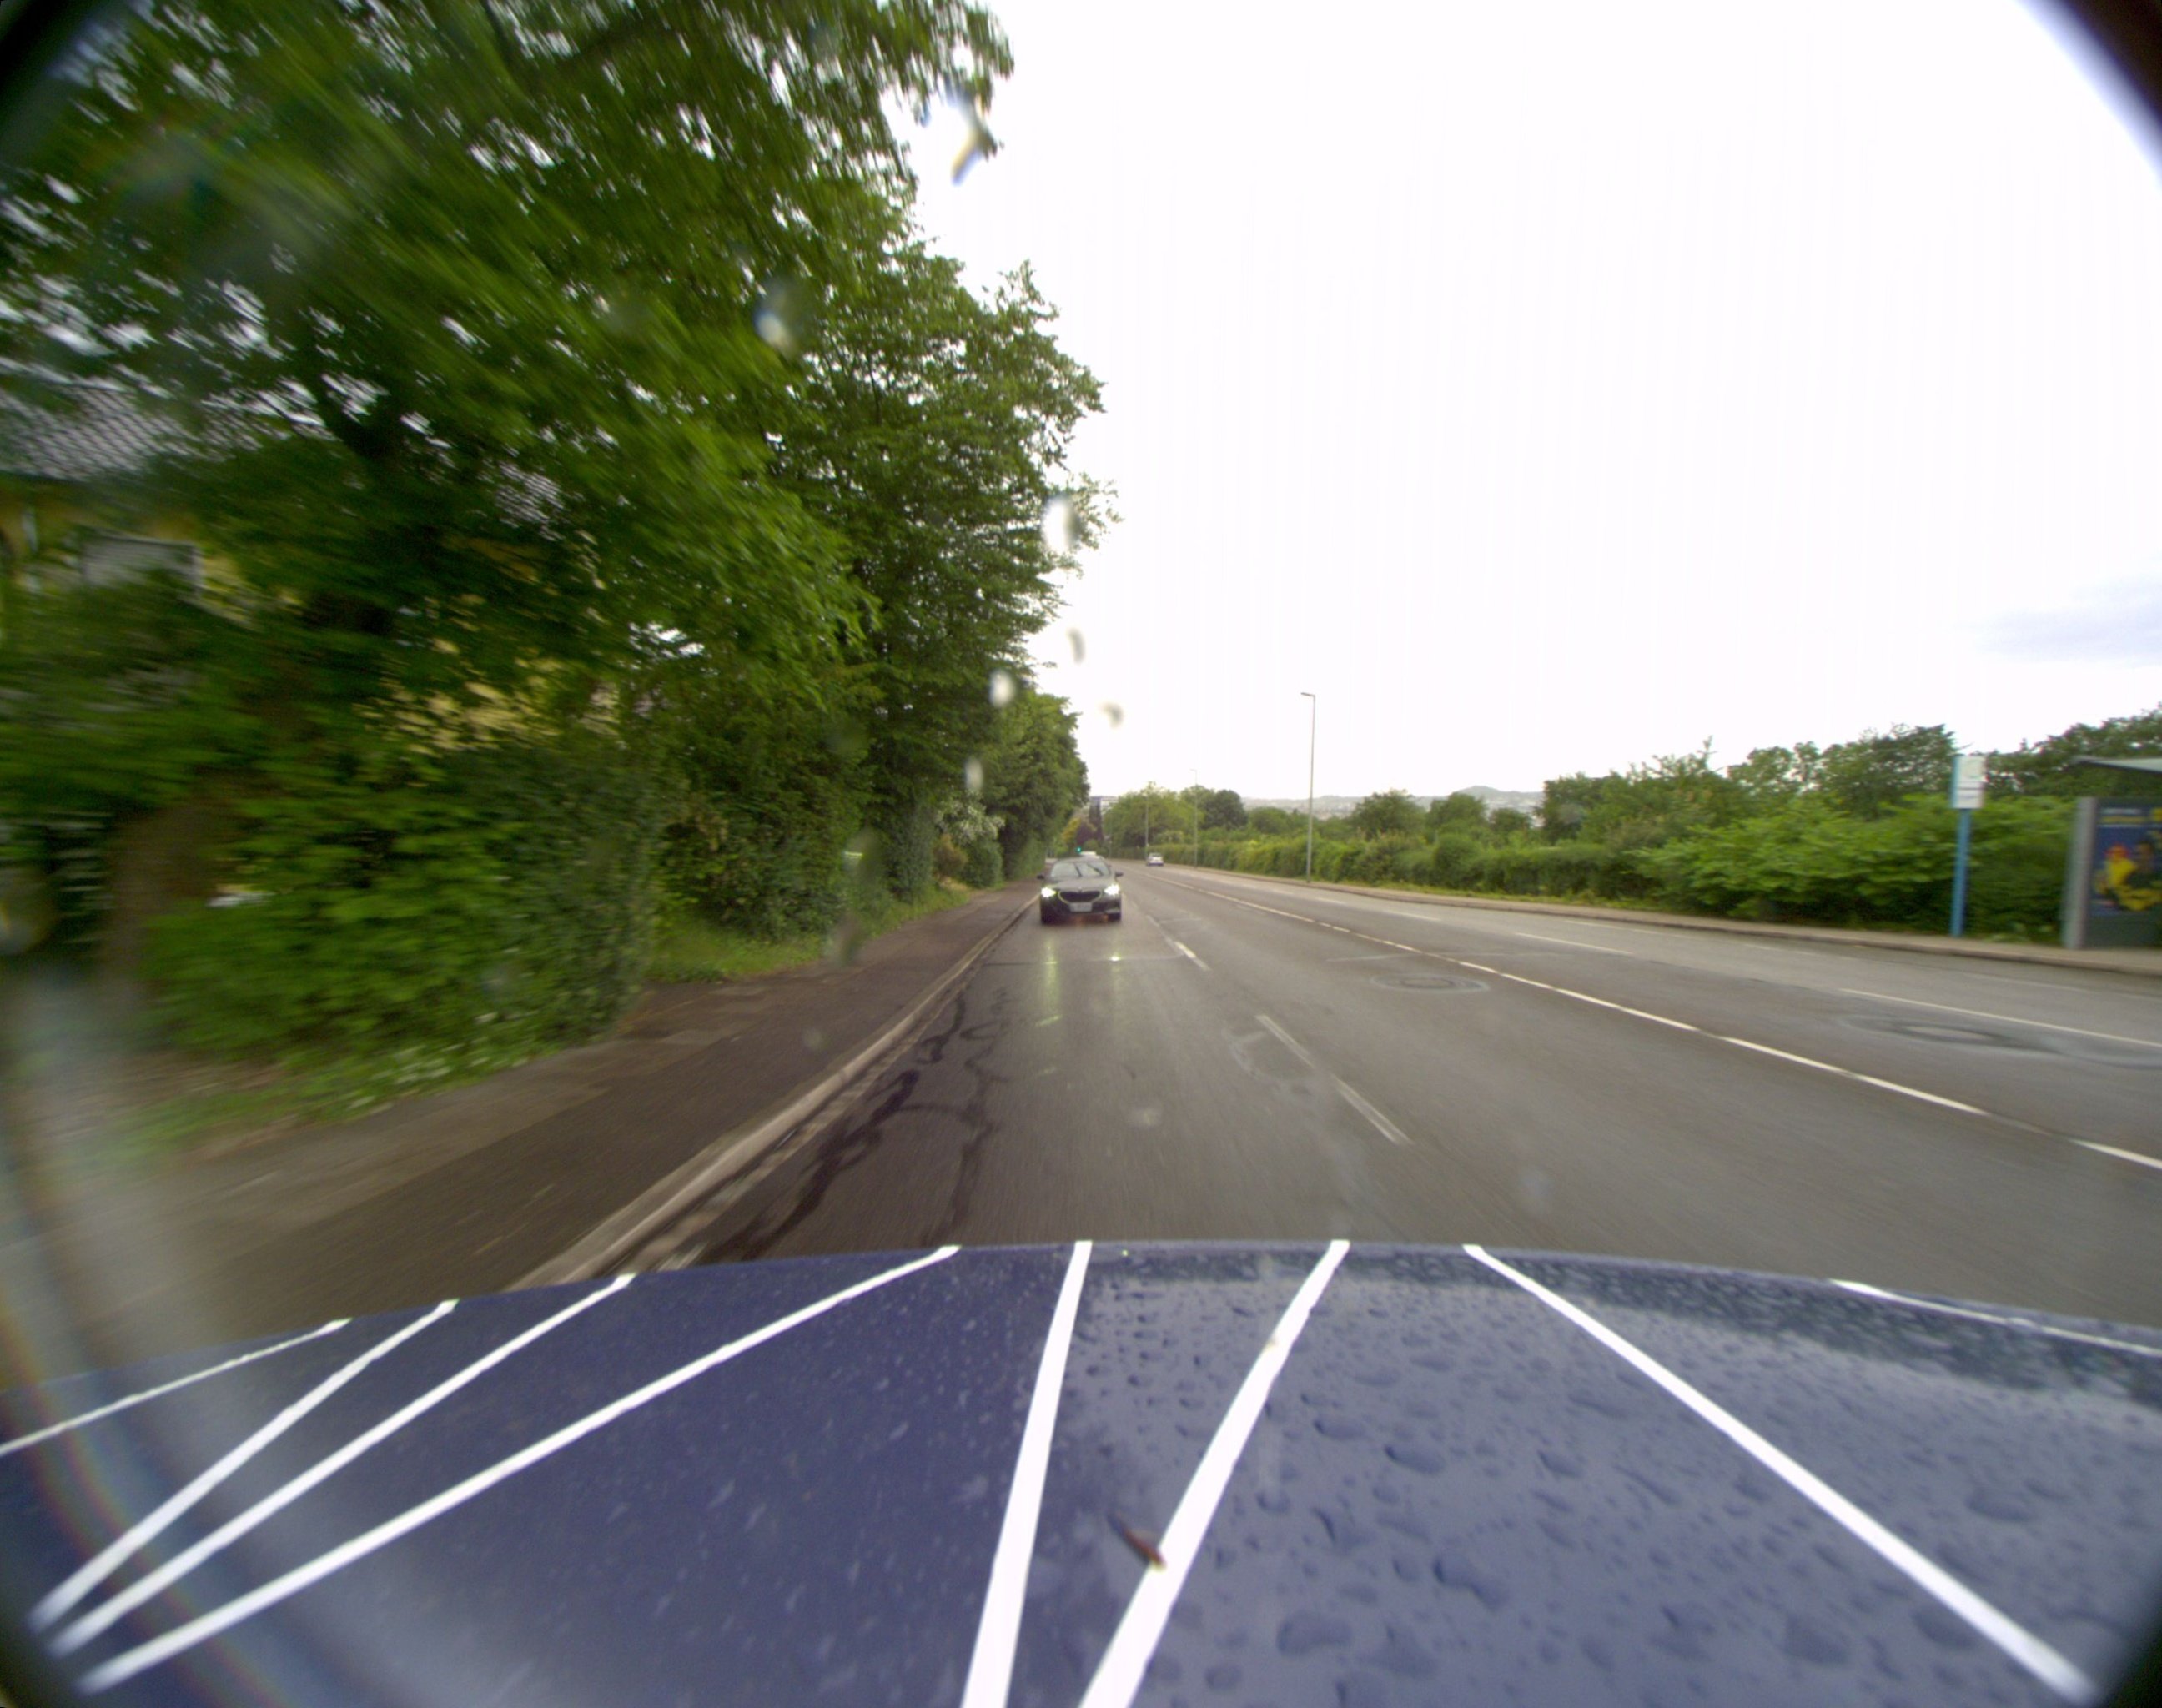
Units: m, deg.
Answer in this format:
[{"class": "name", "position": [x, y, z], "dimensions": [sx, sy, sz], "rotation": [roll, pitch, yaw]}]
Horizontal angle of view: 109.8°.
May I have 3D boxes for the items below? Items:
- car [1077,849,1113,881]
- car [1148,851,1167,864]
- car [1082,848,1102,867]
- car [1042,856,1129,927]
[{"class": "car", "position": [0.654, 0.516, 38.200], "dimensions": [1.551, 1.505, 4.281], "rotation": [0, 1, -3]}, {"class": "car", "position": [9.418, 0.395, 93.648], "dimensions": [1.761, 1.559, 3.999], "rotation": [1, 0, -1]}, {"class": "car", "position": [0.998, 0.327, 71.318], "dimensions": [1.703, 1.670, 4.282], "rotation": [-1, 0, -2]}, {"class": "car", "position": [-0.005, 0.841, 18.962], "dimensions": [1.846, 1.371, 4.281], "rotation": [-3, 1, -3]}]
